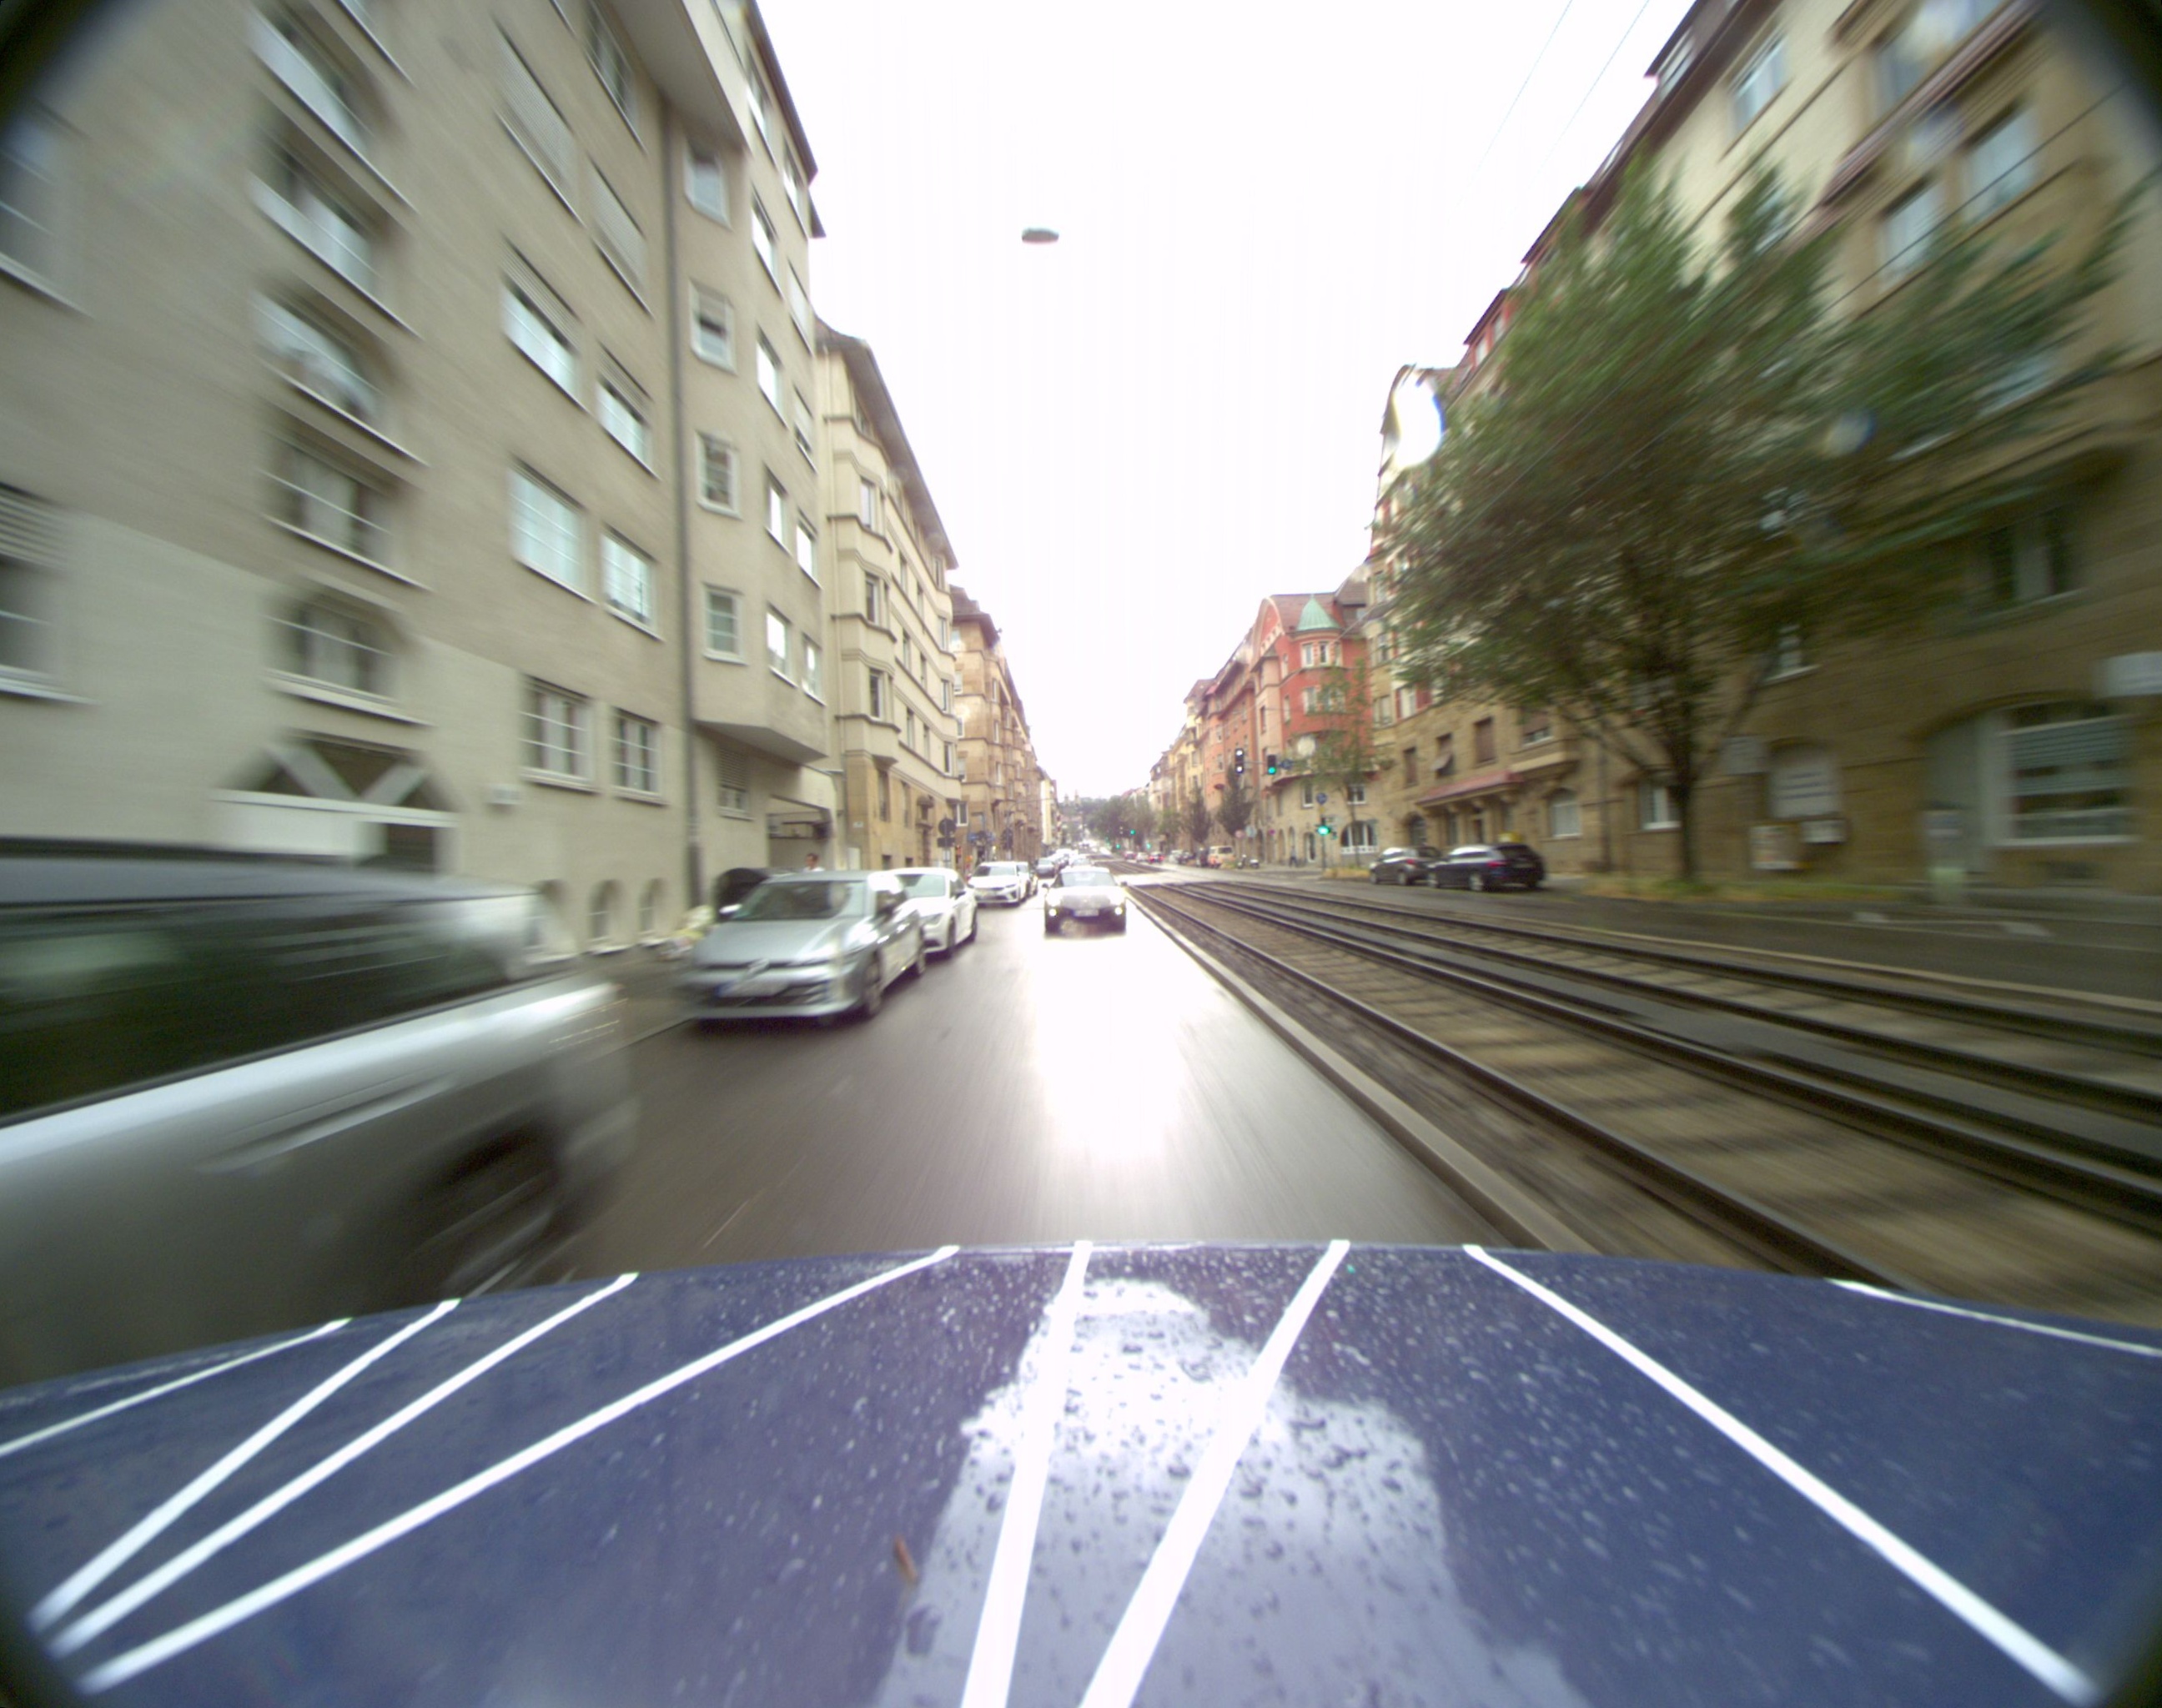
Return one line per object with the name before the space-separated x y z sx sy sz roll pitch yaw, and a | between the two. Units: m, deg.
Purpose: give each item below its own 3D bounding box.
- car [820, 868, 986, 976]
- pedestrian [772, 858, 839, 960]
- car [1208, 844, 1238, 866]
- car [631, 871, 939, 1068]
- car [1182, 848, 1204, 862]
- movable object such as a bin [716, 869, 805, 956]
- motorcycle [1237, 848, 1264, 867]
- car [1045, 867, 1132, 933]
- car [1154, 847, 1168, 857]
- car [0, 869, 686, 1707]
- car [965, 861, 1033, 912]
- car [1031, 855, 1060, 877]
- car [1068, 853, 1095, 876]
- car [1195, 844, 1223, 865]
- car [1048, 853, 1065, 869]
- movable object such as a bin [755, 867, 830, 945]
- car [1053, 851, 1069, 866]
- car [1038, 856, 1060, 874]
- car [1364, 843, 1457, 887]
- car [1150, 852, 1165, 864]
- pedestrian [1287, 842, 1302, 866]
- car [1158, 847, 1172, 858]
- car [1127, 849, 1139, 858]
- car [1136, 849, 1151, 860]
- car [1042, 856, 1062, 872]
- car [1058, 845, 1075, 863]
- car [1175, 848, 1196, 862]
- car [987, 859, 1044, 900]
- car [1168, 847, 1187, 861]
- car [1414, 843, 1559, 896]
car | -2.879 1.040 13.325 1.794 1.377 4.394 -2 1 0
pedestrian | -4.722 0.924 13.068 0.806 1.678 0.754 -2 1 0
car | 12.722 0.050 68.269 1.733 1.919 4.475 -2 1 -1
car | -2.922 1.032 8.655 1.837 1.459 4.374 -2 1 -2
car | 12.927 0.080 87.524 1.760 1.396 3.694 -4 1 -2
movable object such as a bin | -5.901 1.050 14.082 1.020 1.460 1.322 -2 1 0
motorcycle | 12.867 0.248 57.643 1.779 1.367 0.769 -1 1 32
car | 0.180 0.955 17.358 1.737 1.262 4.258 0 0 1
car | 12.905 -0.327 122.991 1.759 1.443 4.043 -5 1 2
car | -2.665 0.925 0.726 1.845 1.598 4.760 -2 1 3
car | -2.749 1.036 26.386 1.716 1.459 4.773 -2 1 1
car | -2.715 0.912 59.021 1.872 1.540 3.991 -3 0 1
car | 0.075 0.742 54.509 1.794 1.459 4.257 -2 1 1
car | 12.653 0.036 75.299 1.910 1.919 4.831 -2 1 0
car | -2.606 0.743 81.340 1.774 1.592 3.999 -1 0 -1
movable object such as a bin | -5.864 1.029 15.513 0.982 1.460 1.272 -2 1 0
car | -2.472 0.569 96.192 1.811 1.758 3.962 -2 0 1
car | -2.710 0.911 64.873 1.710 1.444 3.532 -3 0 -2
car | 12.581 0.368 29.336 1.694 1.520 4.175 -2 1 -1
car | 9.992 0.477 99.493 1.657 1.454 3.734 -1 0 0
pedestrian | 15.938 -0.033 56.784 0.718 1.710 0.892 -7 1 1
car | 12.972 -0.182 116.932 1.717 1.473 3.712 -5 1 2
car | 10.090 -0.149 147.412 1.926 1.608 4.128 -2 1 -1
car | 9.678 0.039 117.566 1.785 1.494 4.061 -2 1 -1
car | -2.707 0.933 71.556 1.598 1.478 3.522 -1 0 1
car | -2.229 -0.011 117.170 1.991 2.520 6.154 -3 0 3
car | 12.685 0.102 92.613 1.760 1.482 4.597 -4 1 -1
car | -2.651 1.002 31.752 1.715 1.402 4.817 -2 1 2
car | 12.508 -0.038 98.274 1.759 1.663 4.259 -5 1 0
car | 12.488 0.408 23.839 1.785 1.451 4.977 -2 1 -1
